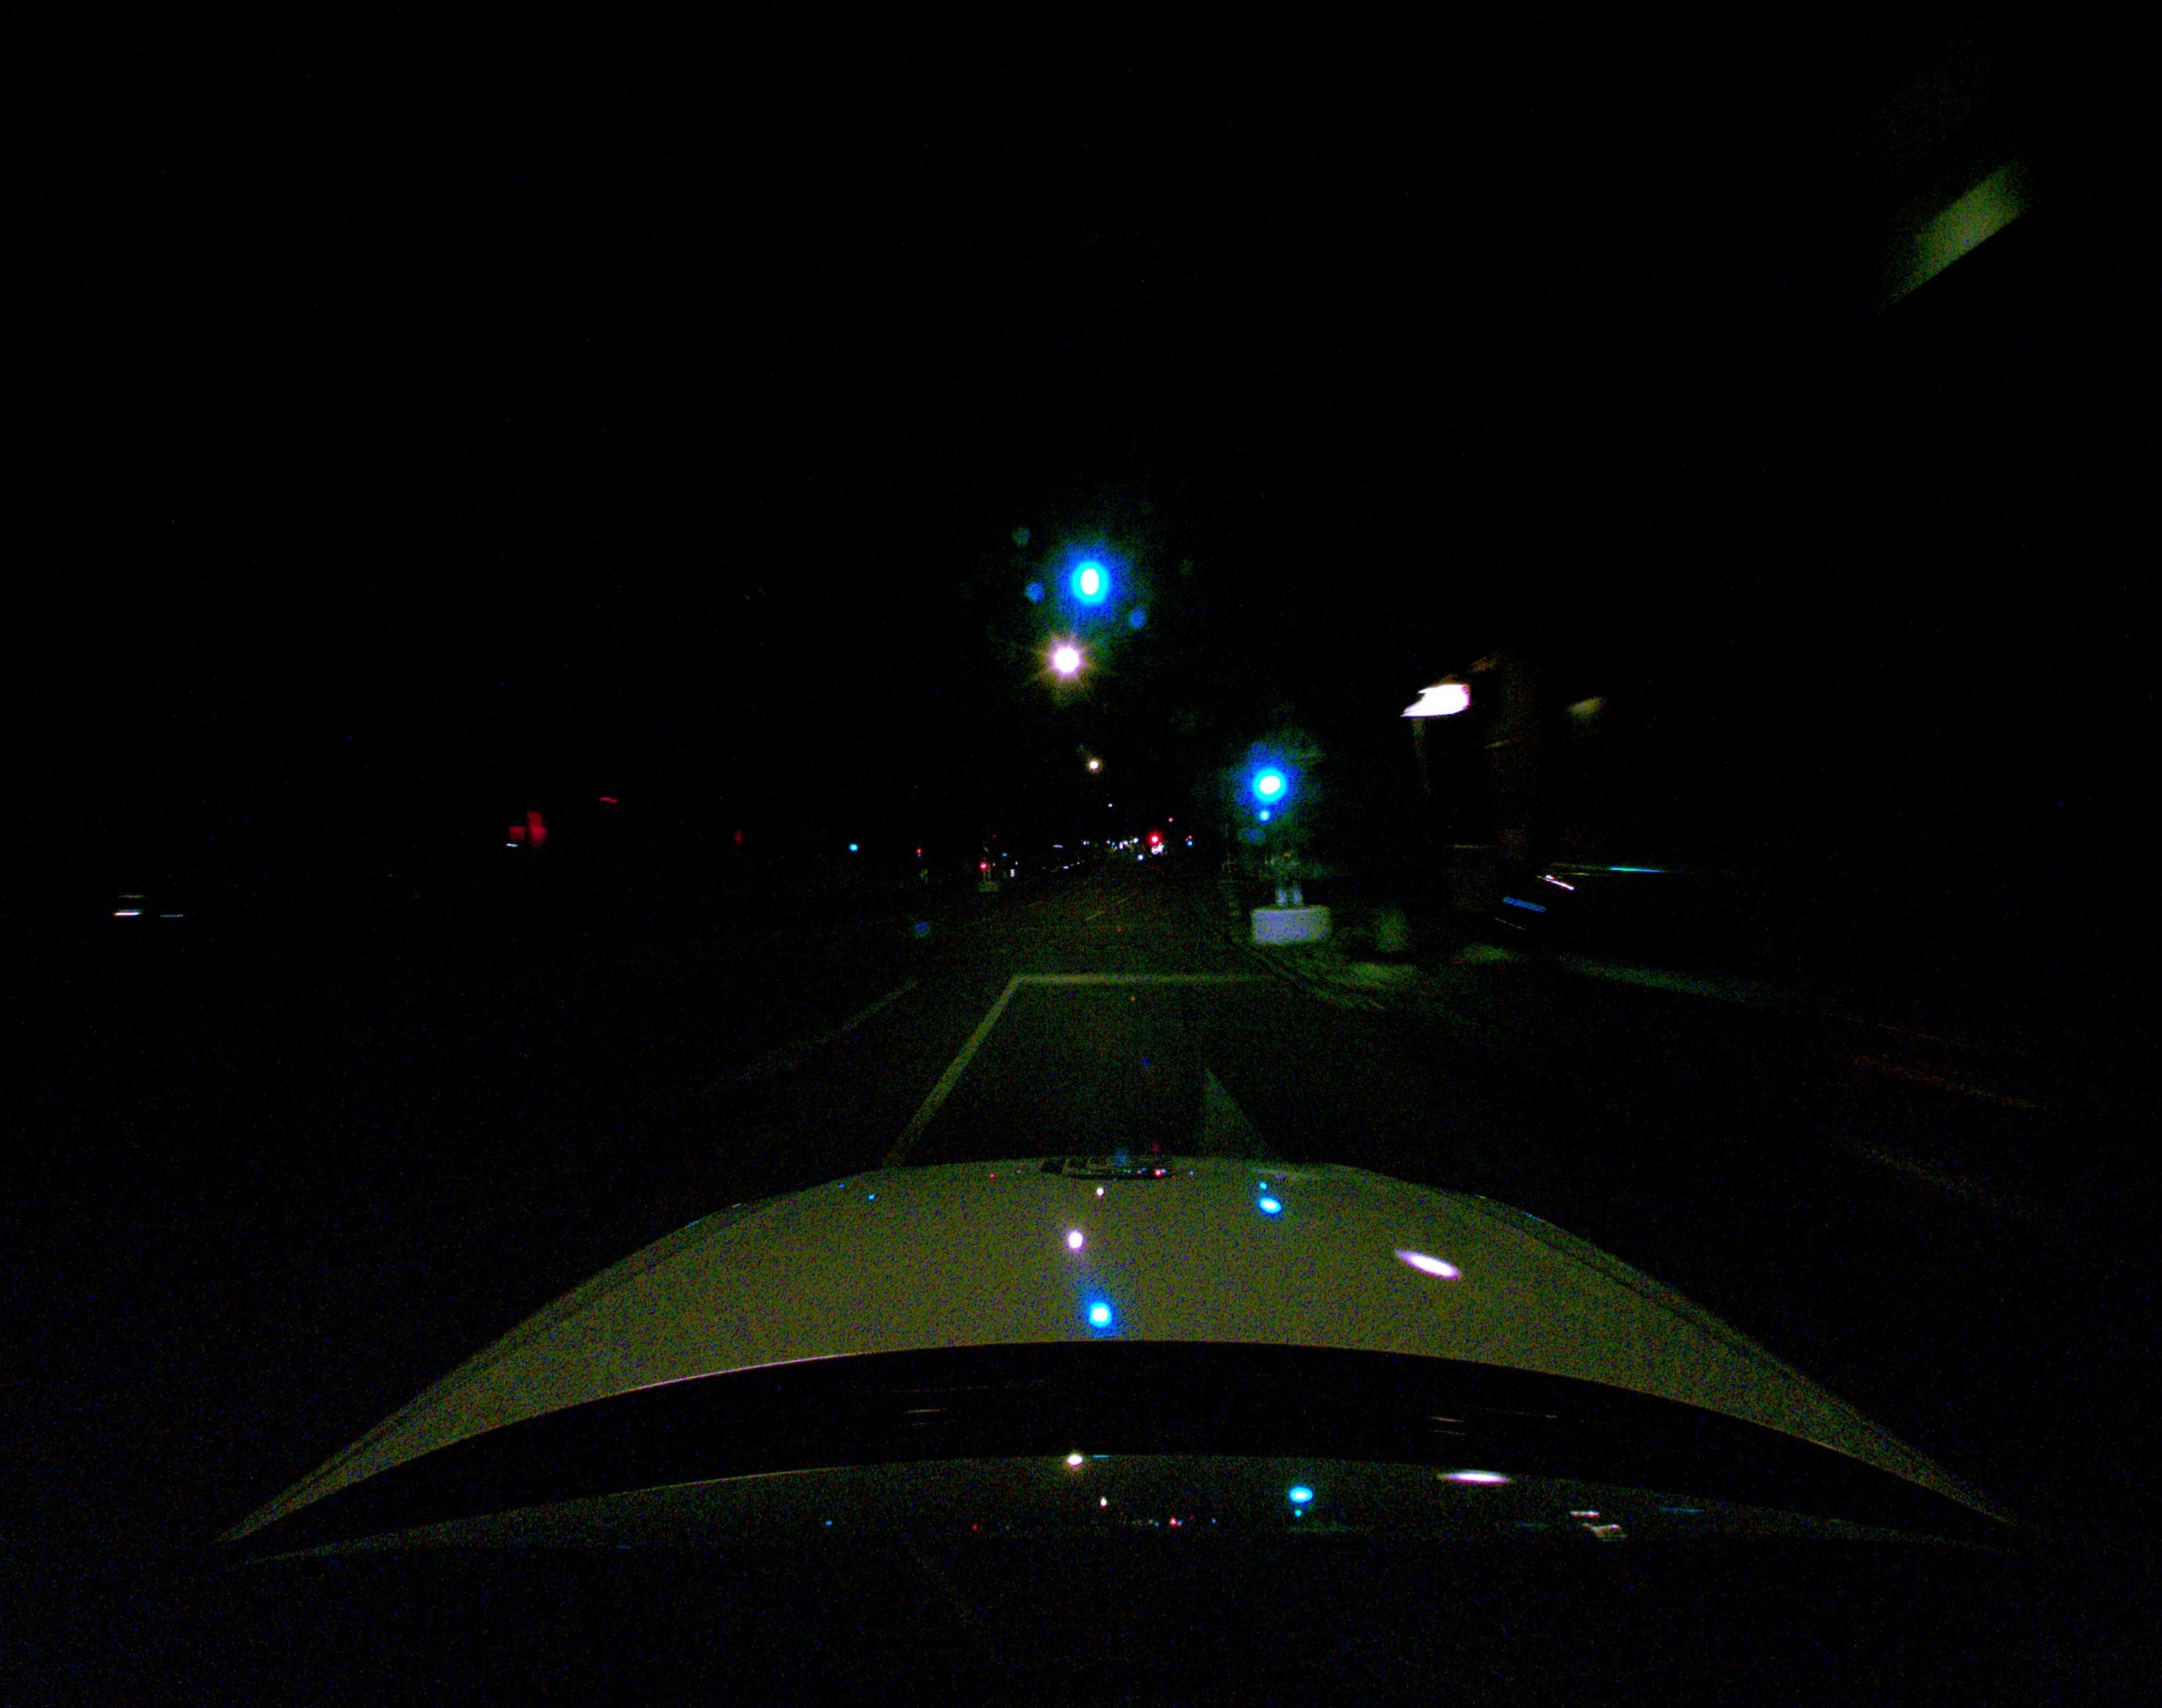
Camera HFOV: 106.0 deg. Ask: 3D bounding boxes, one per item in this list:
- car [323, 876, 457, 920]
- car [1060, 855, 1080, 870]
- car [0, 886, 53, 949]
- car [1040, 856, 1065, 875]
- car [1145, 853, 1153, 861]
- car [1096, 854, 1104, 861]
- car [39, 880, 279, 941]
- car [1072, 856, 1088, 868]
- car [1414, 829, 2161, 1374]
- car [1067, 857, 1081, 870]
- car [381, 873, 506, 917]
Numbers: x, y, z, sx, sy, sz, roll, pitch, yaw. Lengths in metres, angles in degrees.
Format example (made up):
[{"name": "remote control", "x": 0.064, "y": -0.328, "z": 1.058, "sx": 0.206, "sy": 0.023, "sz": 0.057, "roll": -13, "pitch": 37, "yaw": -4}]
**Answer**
[{"name": "car", "x": -29.916, "y": 1.849, "z": 35.445, "sx": 1.984, "sy": 1.640, "sz": 4.191, "roll": -3, "pitch": -1, "yaw": 5}, {"name": "car", "x": -1.089, "y": 0.879, "z": 84.188, "sx": 1.762, "sy": 1.486, "sz": 4.769, "roll": -3, "pitch": 0, "yaw": 1}, {"name": "car", "x": -31.405, "y": 1.807, "z": 22.196, "sx": 4.359, "sy": 1.678, "sz": 1.833, "roll": -2, "pitch": -5, "yaw": 1}, {"name": "car", "x": -2.355, "y": 0.981, "z": 68.065, "sx": 1.707, "sy": 1.494, "sz": 3.992, "roll": -2, "pitch": -2, "yaw": 3}, {"name": "car", "x": 14.029, "y": 0.634, "z": 168.629, "sx": 1.644, "sy": 1.431, "sz": 4.005, "roll": -3, "pitch": 0, "yaw": 4}, {"name": "car", "x": 4.467, "y": 0.841, "z": 193.111, "sx": 1.644, "sy": 1.431, "sz": 4.003, "roll": -3, "pitch": 0, "yaw": 3}, {"name": "car", "x": -24.867, "y": 1.551, "z": 22.078, "sx": 4.359, "sy": 1.393, "sz": 1.833, "roll": -2, "pitch": -5, "yaw": 1}, {"name": "car", "x": -0.170, "y": 1.074, "z": 110.849, "sx": 1.891, "sy": 1.471, "sz": 4.456, "roll": -1, "pitch": 0, "yaw": 3}, {"name": "car", "x": 3.120, "y": 0.667, "z": 4.089, "sx": 1.579, "sy": 1.461, "sz": 3.802, "roll": -2, "pitch": 0, "yaw": 5}, {"name": "car", "x": -0.822, "y": 1.112, "z": 97.693, "sx": 1.617, "sy": 1.382, "sz": 4.451, "roll": -3, "pitch": 0, "yaw": 0}, {"name": "car", "x": -27.350, "y": 1.708, "z": 35.146, "sx": 1.984, "sy": 1.640, "sz": 4.005, "roll": -3, "pitch": -1, "yaw": 5}]
